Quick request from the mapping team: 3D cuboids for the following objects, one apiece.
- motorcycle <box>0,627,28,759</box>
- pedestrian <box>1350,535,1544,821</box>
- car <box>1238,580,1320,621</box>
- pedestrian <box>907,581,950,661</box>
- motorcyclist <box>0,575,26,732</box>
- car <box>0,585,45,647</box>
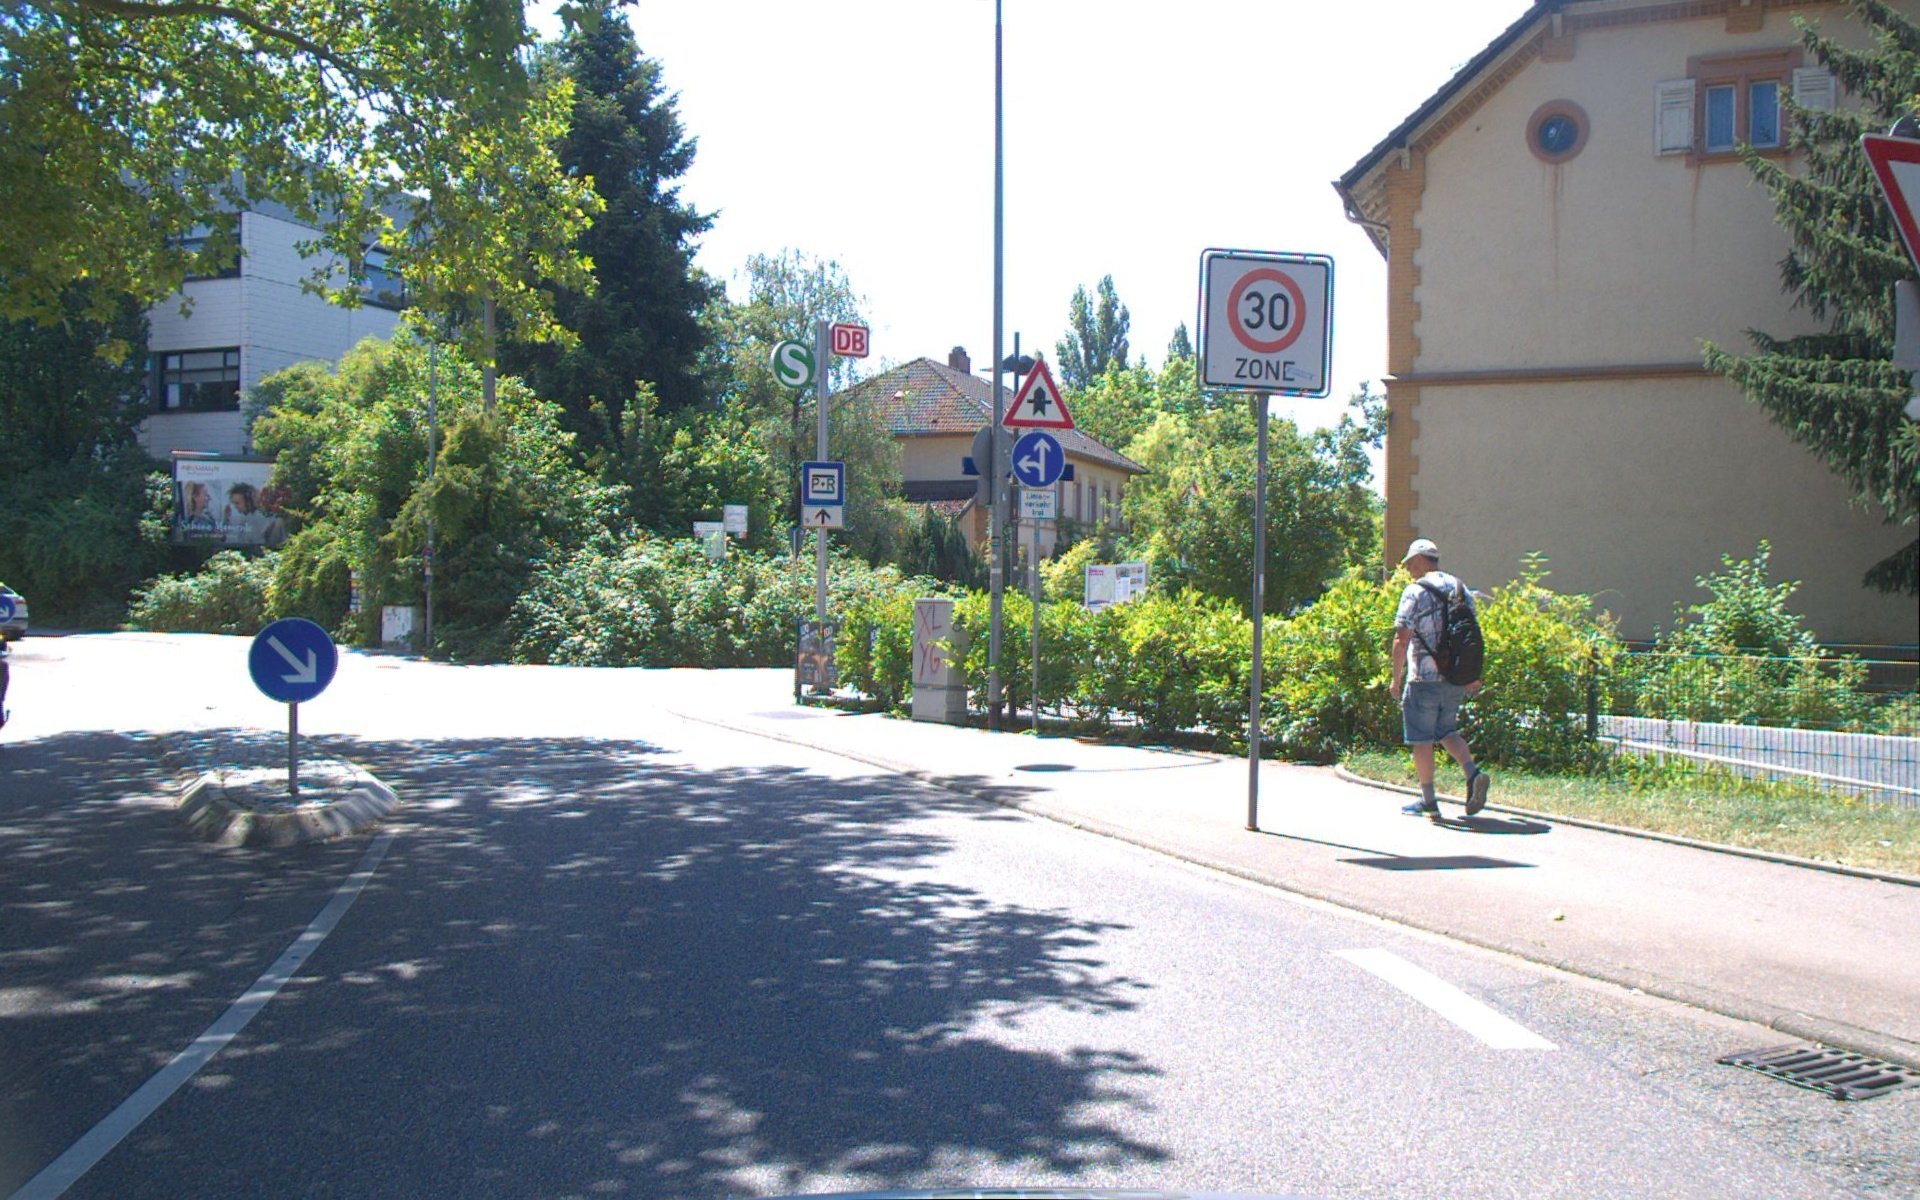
[{"bbox_3d":[-10.067,0.921,16.934,0.800,1.253,2.027,0,0,-33],"label":"motorcycle"},{"bbox_3d":[3.223,0.488,11.013,0.898,1.803,0.911,0,0,-17],"label":"pedestrian"},{"bbox_3d":[18.879,0.043,98.014,4.356,2.362,2.200,1,0,26],"label":"car"},{"bbox_3d":[-0.672,0.431,35.007,0.610,1.656,0.692,0,1,-34],"label":"pedestrian"},{"bbox_3d":[-10.119,0.535,17.032,0.800,1.582,1.092,0,0,-33],"label":"motorcyclist"},{"bbox_3d":[-27.373,0.389,45.693,4.381,1.642,1.936,2,0,35],"label":"car"}]
